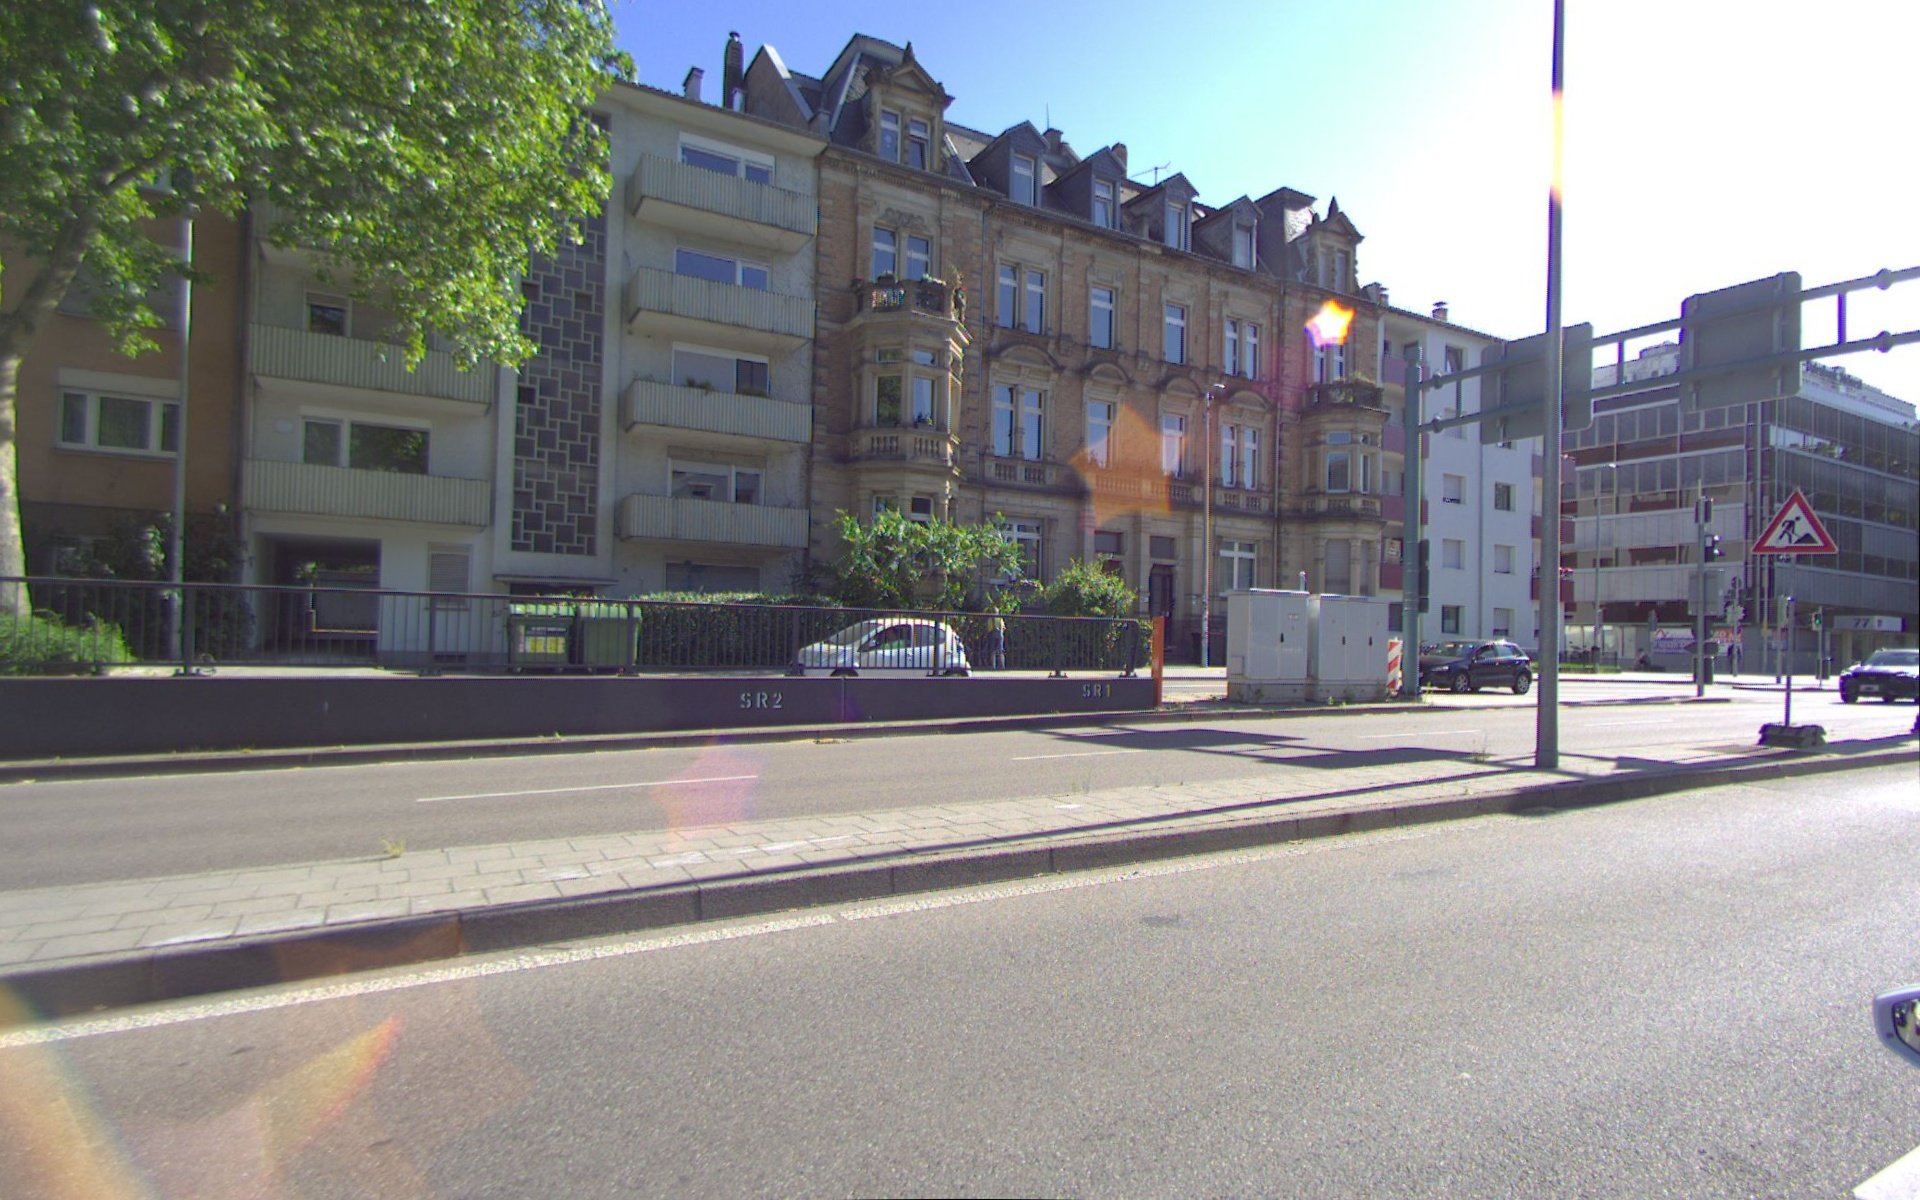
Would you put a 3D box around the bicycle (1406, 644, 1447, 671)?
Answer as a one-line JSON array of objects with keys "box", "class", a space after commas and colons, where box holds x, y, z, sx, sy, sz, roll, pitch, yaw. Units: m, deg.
[{"box": [17.135, 2.126, 36.865, 1.916, 0.971, 0.303, 2, -2, -29], "class": "bicycle"}]

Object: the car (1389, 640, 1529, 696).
[{"box": [13.722, 1.822, 27.591, 3.643, 1.457, 1.622, 1, -2, -28], "class": "car"}]

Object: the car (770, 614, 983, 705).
[{"box": [-1.539, 1.061, 18.857, 3.646, 1.506, 1.620, 1, 0, -30], "class": "car"}]

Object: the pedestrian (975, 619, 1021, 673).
[{"box": [1.010, 1.224, 26.728, 1.078, 1.396, 0.563, 2, -1, -31], "class": "pedestrian"}]

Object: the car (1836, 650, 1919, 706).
[{"box": [26.467, 2.153, 28.110, 4.260, 1.459, 1.600, 2, -4, -30], "class": "car"}]

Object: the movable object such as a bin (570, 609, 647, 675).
[{"box": [-7.632, 0.910, 21.796, 1.455, 1.378, 0.889, 1, -3, -28], "class": "movable object such as a bin"}]

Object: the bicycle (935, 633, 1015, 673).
[{"box": [0.420, 1.427, 27.116, 2.224, 1.018, 0.464, 2, 0, -31], "class": "bicycle"}]

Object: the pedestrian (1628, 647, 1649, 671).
[{"box": [33.761, 2.951, 49.992, 0.783, 1.168, 0.711, 3, -2, -41], "class": "pedestrian"}]

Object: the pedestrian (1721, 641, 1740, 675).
[{"box": [39.750, 2.983, 51.831, 0.688, 1.679, 0.745, 1, -1, 31], "class": "pedestrian"}]

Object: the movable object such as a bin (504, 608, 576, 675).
[{"box": [-8.856, 0.877, 21.168, 1.299, 1.380, 0.889, 1, -3, -30], "class": "movable object such as a bin"}]
